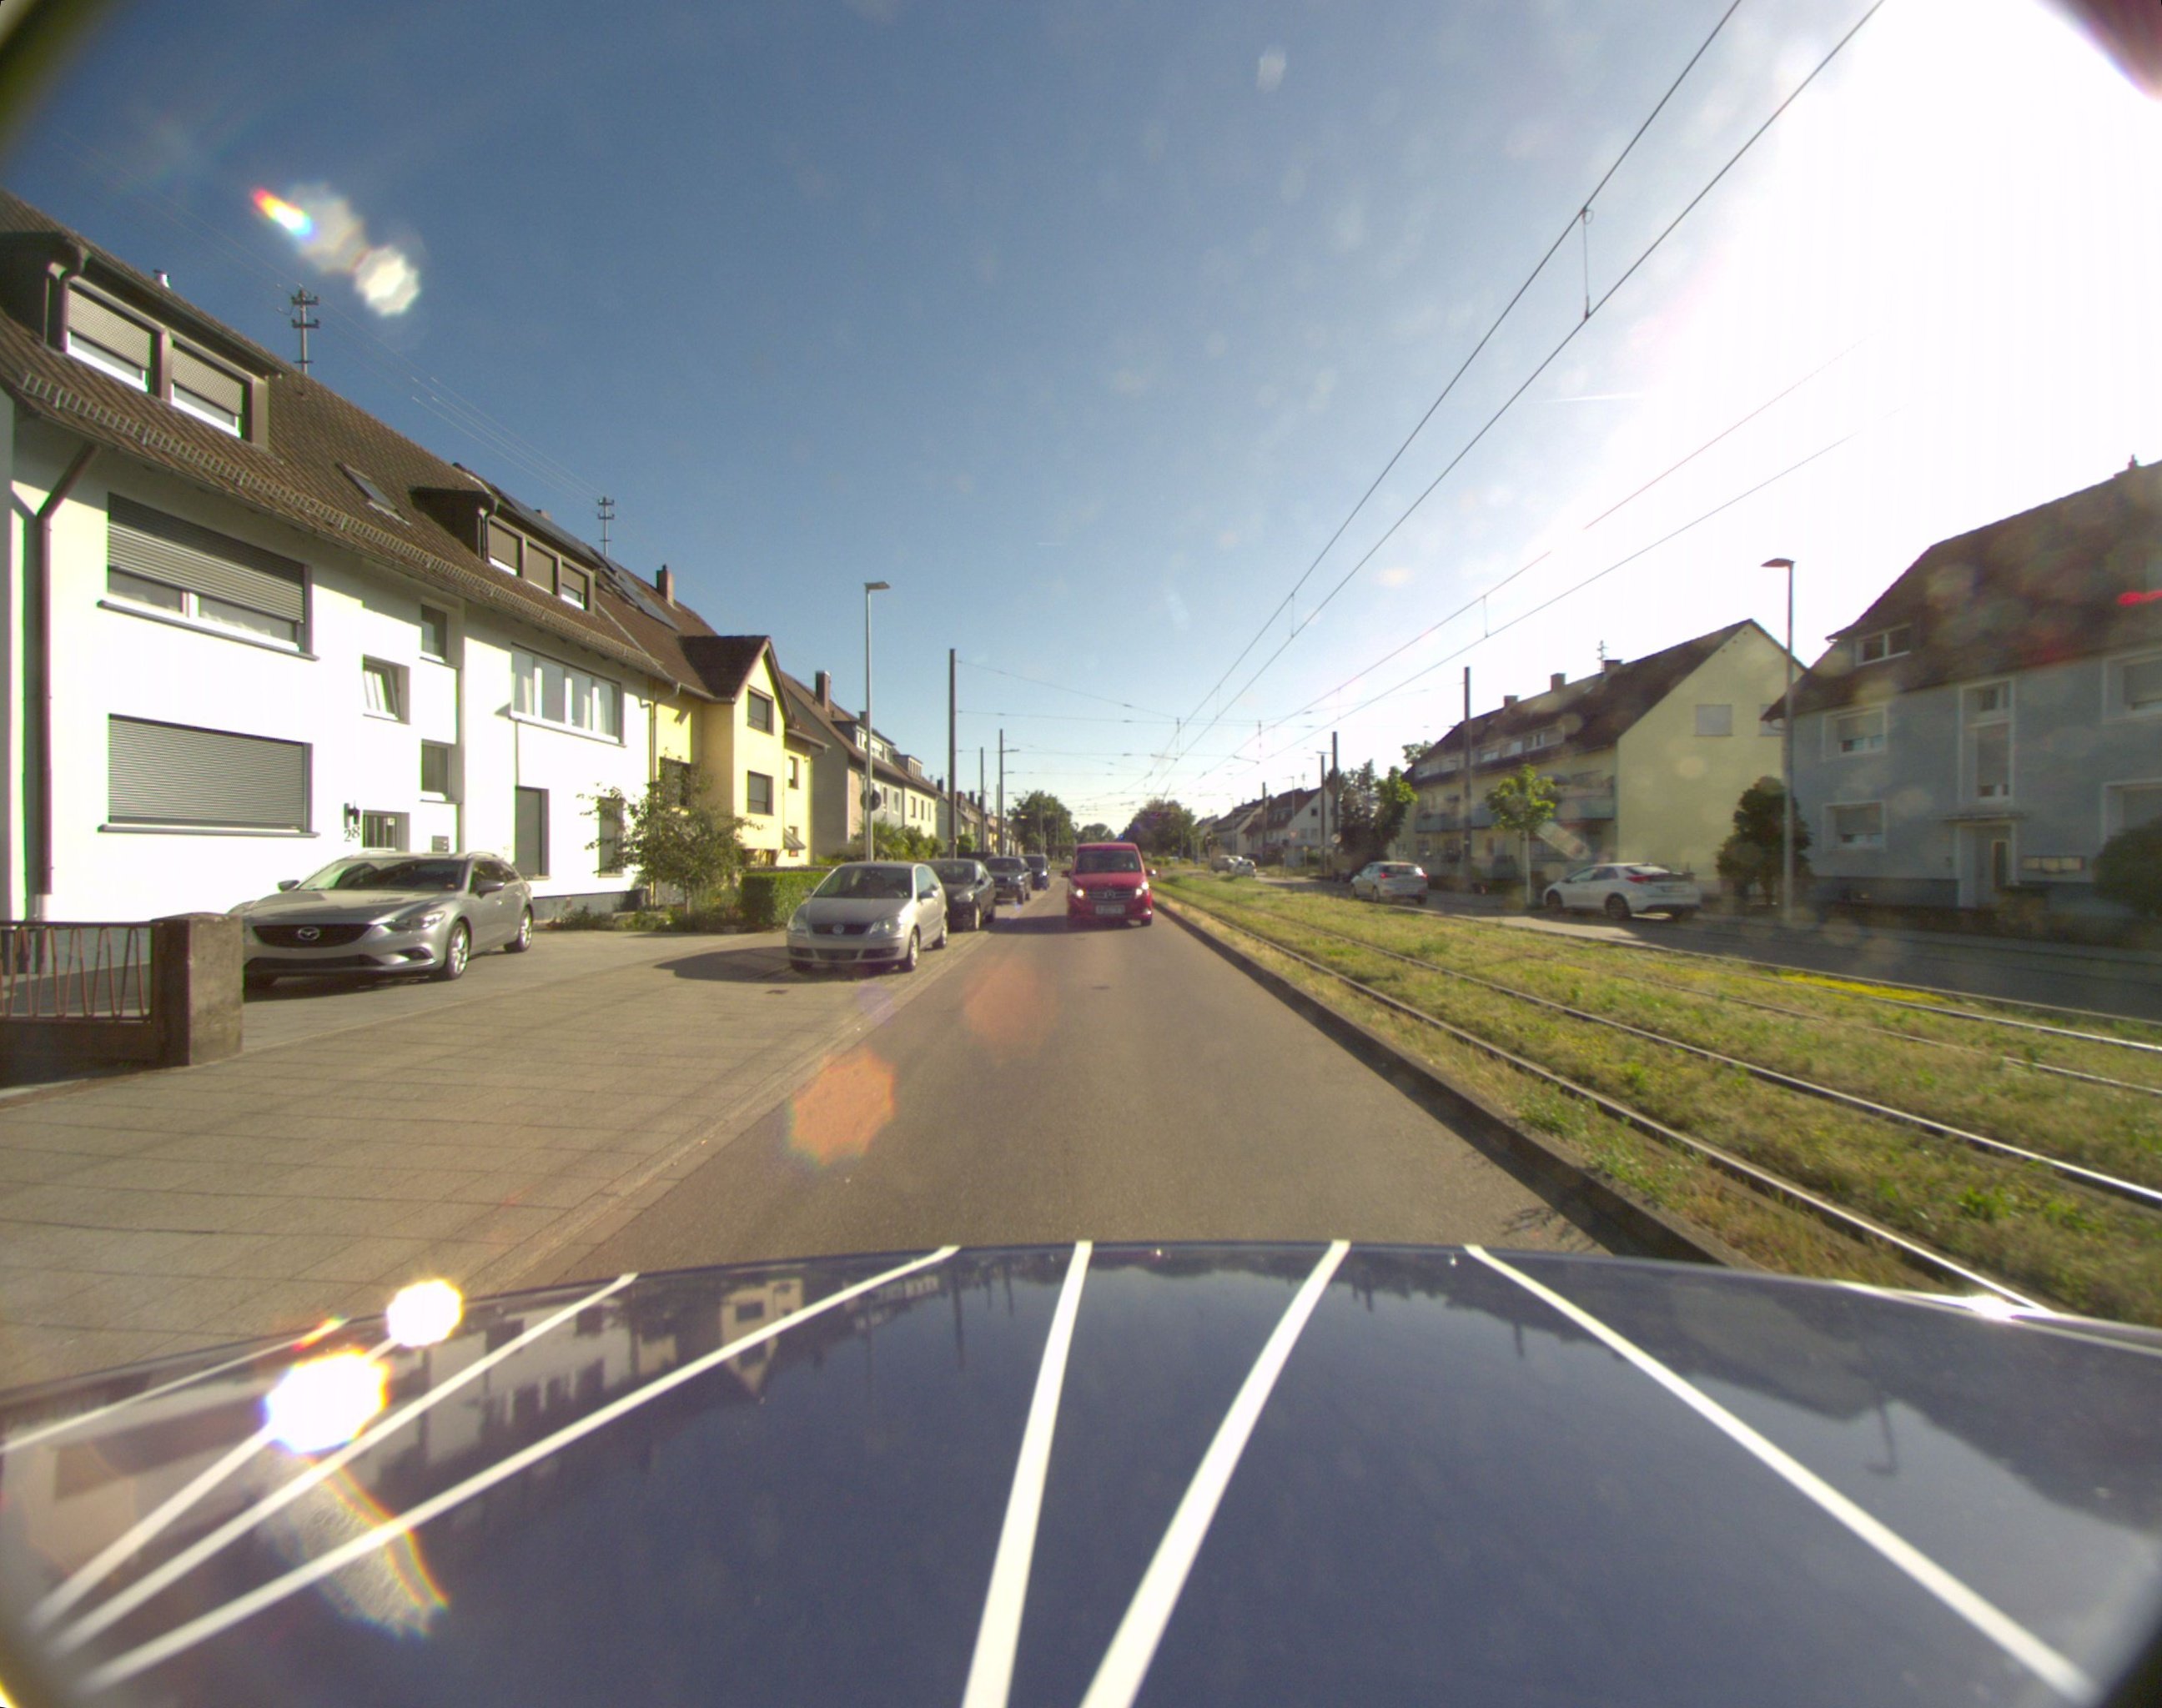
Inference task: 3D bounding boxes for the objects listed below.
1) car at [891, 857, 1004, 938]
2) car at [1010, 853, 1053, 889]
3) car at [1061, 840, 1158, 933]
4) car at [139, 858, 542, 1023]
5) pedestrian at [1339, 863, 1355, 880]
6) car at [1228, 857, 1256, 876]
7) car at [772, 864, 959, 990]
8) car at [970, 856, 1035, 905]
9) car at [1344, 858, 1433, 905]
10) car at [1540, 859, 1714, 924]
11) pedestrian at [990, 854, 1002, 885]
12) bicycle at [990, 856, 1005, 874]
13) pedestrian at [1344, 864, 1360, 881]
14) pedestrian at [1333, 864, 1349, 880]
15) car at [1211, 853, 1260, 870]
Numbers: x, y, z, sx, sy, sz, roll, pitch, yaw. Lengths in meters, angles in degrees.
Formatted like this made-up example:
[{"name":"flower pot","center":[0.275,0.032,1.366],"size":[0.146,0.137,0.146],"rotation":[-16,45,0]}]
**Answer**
[{"name":"car","center":[-2.861,0.867,17.044],"size":[1.670,1.538,3.836],"rotation":[2,0,2]},{"name":"car","center":[-2.634,0.862,41.524],"size":[1.966,1.825,4.927],"rotation":[0,0,1]},{"name":"car","center":[0.543,0.683,18.927],"size":[1.999,1.970,5.236],"rotation":[-1,0,-2]},{"name":"car","center":[-8.465,0.794,9.403],"size":[2.003,1.436,4.872],"rotation":[1,0,-24]},{"name":"pedestrian","center":[17.334,1.120,49.503],"size":[0.821,1.059,0.625],"rotation":[-1,3,-32]},{"name":"car","center":[12.888,0.992,60.997],"size":[1.553,1.403,3.659],"rotation":[0,0,2]},{"name":"car","center":[-3.011,0.930,11.598],"size":[1.620,1.466,4.449],"rotation":[0,0,0]},{"name":"car","center":[-2.760,0.892,27.663],"size":[1.859,1.649,4.473],"rotation":[0,0,1]},{"name":"car","center":[11.142,0.953,27.833],"size":[1.712,1.482,4.024],"rotation":[0,1,2]},{"name":"car","center":[14.266,0.901,20.182],"size":[1.696,1.509,4.215],"rotation":[0,0,2]},{"name":"pedestrian","center":[-4.730,0.867,42.364],"size":[0.584,1.713,0.714],"rotation":[0,1,2]},{"name":"bicycle","center":[-4.708,0.620,42.784],"size":[0.602,0.974,1.562],"rotation":[2,1,3]},{"name":"pedestrian","center":[17.434,1.183,48.841],"size":[0.725,1.000,0.594],"rotation":[-1,2,-23]},{"name":"pedestrian","center":[17.234,1.183,50.364],"size":[0.819,1.040,0.687],"rotation":[0,1,-2]},{"name":"car","center":[14.122,0.687,69.683],"size":[4.001,1.570,1.829],"rotation":[0,0,-11]}]
